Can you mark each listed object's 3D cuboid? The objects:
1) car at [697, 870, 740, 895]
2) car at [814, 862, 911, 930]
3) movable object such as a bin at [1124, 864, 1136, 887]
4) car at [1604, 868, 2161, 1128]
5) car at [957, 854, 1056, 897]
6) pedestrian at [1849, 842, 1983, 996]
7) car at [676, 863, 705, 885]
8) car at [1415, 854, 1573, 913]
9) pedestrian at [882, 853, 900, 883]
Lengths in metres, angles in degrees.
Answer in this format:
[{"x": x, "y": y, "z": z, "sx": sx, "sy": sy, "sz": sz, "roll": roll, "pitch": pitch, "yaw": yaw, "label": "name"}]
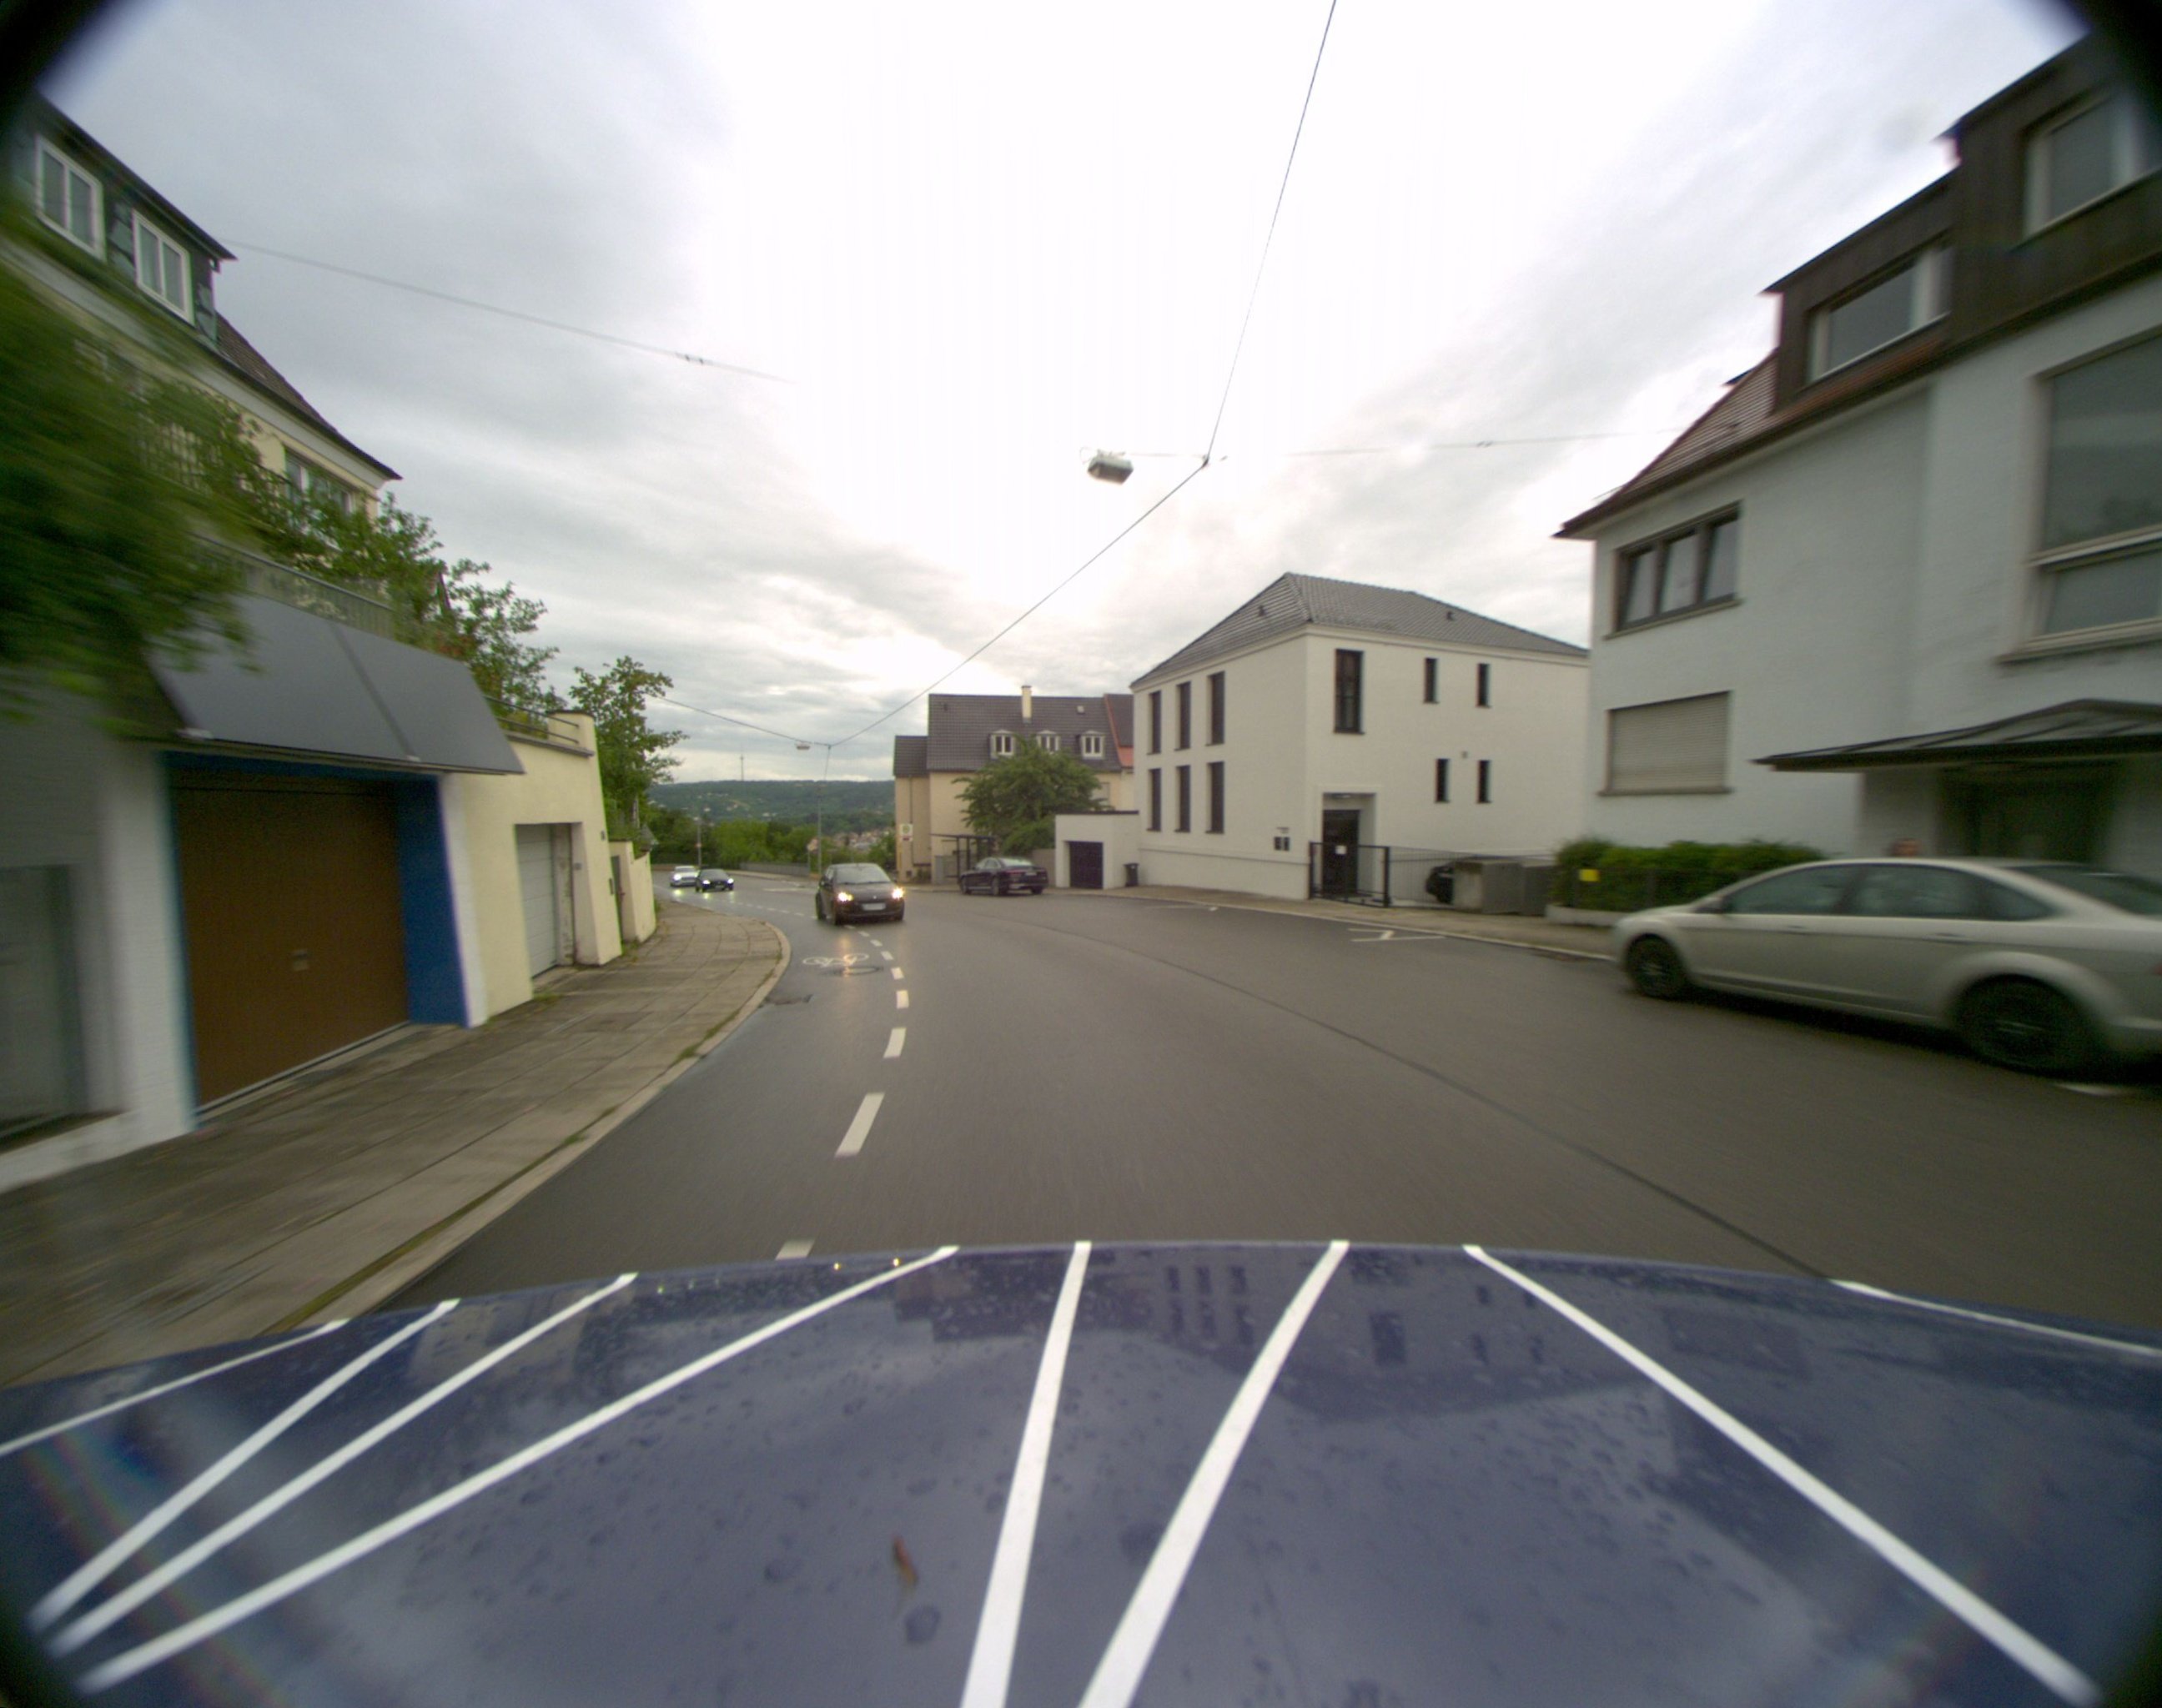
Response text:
[{"x": -23.785, "y": 1.845, "z": 49.738, "sx": 1.770, "sy": 1.445, "sz": 4.388, "roll": -2, "pitch": 1, "yaw": -36, "label": "car"}, {"x": -5.692, "y": 0.986, "z": 19.506, "sx": 1.683, "sy": 1.405, "sz": 3.629, "roll": -4, "pitch": 2, "yaw": -27, "label": "car"}, {"x": 1.925, "y": 0.837, "z": 29.819, "sx": 0.371, "sy": 0.907, "sz": 0.282, "roll": -1, "pitch": 1, "yaw": -26, "label": "movable object such as a bin"}, {"x": 6.934, "y": 0.885, "z": 6.276, "sx": 1.842, "sy": 1.417, "sz": 4.225, "roll": 0, "pitch": 0, "yaw": -11, "label": "car"}, {"x": -3.034, "y": 0.783, "z": 29.811, "sx": 1.837, "sy": 1.477, "sz": 4.978, "roll": -2, "pitch": 1, "yaw": -32, "label": "car"}, {"x": 9.112, "y": 0.669, "z": 8.307, "sx": 0.495, "sy": 1.568, "sz": 0.945, "roll": -3, "pitch": 1, "yaw": -38, "label": "pedestrian"}, {"x": -31.730, "y": 1.598, "z": 61.820, "sx": 1.892, "sy": 1.566, "sz": 4.582, "roll": -3, "pitch": 2, "yaw": -26, "label": "car"}, {"x": 11.729, "y": 0.849, "z": 21.573, "sx": 4.006, "sy": 1.345, "sz": 1.738, "roll": 4, "pitch": 1, "yaw": -23, "label": "car"}, {"x": -12.285, "y": 0.907, "z": 49.145, "sx": 0.790, "sy": 1.847, "sz": 0.726, "roll": -5, "pitch": 3, "yaw": -33, "label": "pedestrian"}]
